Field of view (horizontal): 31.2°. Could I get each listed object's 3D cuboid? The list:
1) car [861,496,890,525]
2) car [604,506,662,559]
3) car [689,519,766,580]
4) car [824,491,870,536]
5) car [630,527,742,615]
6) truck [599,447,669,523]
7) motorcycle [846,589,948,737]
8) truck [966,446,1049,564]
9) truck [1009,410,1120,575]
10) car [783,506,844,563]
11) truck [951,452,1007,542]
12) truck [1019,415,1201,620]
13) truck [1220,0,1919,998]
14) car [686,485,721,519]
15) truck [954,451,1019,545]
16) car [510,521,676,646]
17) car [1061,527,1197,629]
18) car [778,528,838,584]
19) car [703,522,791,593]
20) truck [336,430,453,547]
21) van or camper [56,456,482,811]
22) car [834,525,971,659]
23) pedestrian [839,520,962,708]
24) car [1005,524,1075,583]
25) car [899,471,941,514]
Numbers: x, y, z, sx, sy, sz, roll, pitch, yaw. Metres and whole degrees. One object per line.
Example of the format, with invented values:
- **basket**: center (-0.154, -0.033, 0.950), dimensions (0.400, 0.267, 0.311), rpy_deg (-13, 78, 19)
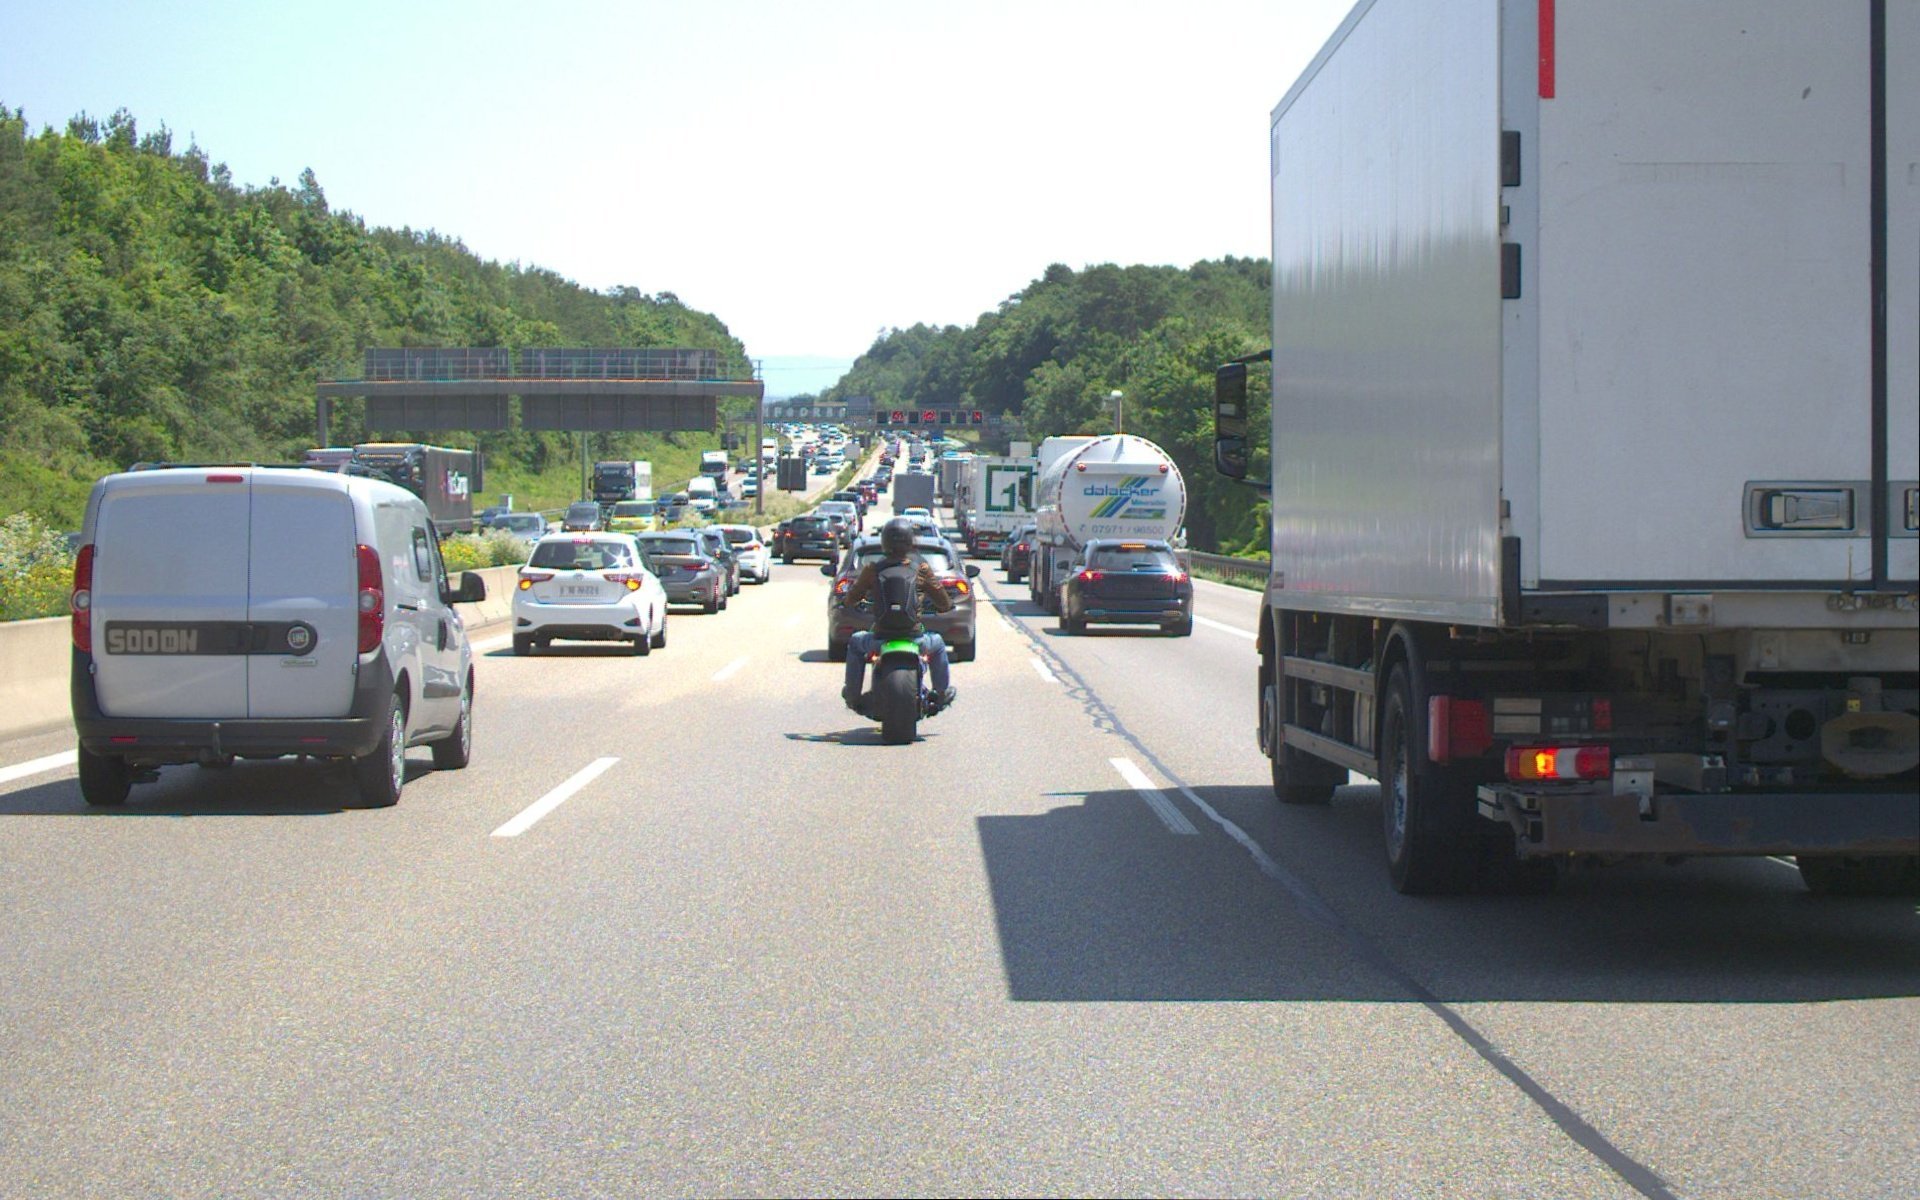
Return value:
- **car**: center (-6.057, -6.412, 245.851), dimensions (1.993, 2.007, 4.000), rpy_deg (1, 1, 0)
- **car**: center (-13.327, -2.742, 140.208), dimensions (1.880, 2.007, 4.468), rpy_deg (-3, 1, 0)
- **car**: center (-5.794, -1.291, 86.079), dimensions (1.699, 1.473, 4.000), rpy_deg (0, 1, -1)
- **car**: center (-5.268, -4.015, 160.510), dimensions (1.929, 2.007, 4.000), rpy_deg (-2, 1, 0)
- **car**: center (-4.823, -0.537, 60.898), dimensions (1.699, 1.473, 4.000), rpy_deg (0, 1, -1)
- **truck**: center (-20.498, -7.233, 216.767), dimensions (3.724, 4.512, 7.327), rpy_deg (-2, 1, -1)
- **motorcycle**: center (-0.454, 0.447, 25.636), dimensions (0.691, 1.012, 2.121), rpy_deg (1, 1, 1)
- **truck**: center (1.865, -3.843, 138.918), dimensions (3.033, 4.526, 9.983), rpy_deg (1, 1, -1)
- **truck**: center (2.287, -2.349, 76.597), dimensions (1.993, 3.510, 4.752), rpy_deg (-2, 1, -3)
- **car**: center (-4.894, -2.214, 115.412), dimensions (1.880, 1.853, 4.000), rpy_deg (1, 1, 0)
- **truck**: center (1.078, -6.110, 204.042), dimensions (3.033, 5.121, 9.983), rpy_deg (1, 1, -1)
- **truck**: center (2.826, -1.552, 67.614), dimensions (2.988, 3.659, 9.288), rpy_deg (-2, 1, -1)
- **truck**: center (3.034, -0.754, 16.294), dimensions (2.688, 3.863, 9.781), rpy_deg (-2, 1, 0)
- **car**: center (-17.971, -6.850, 240.897), dimensions (1.993, 2.369, 7.365), rpy_deg (0, 1, -1)
- **truck**: center (1.308, -5.156, 174.357), dimensions (3.033, 4.526, 9.983), rpy_deg (1, 1, -1)
- **car**: center (-4.552, -0.248, 43.083), dimensions (1.699, 1.473, 4.000), rpy_deg (0, 1, -1)
- **car**: center (2.553, -0.368, 52.714), dimensions (1.828, 1.465, 4.000), rpy_deg (1, 1, -1)
- **car**: center (-5.636, -1.635, 128.045), dimensions (1.993, 2.007, 4.000), rpy_deg (-2, 1, 0)
- **car**: center (-4.574, -0.941, 74.321), dimensions (1.699, 1.473, 4.000), rpy_deg (0, 1, -1)
- **truck**: center (-20.318, -3.963, 123.879), dimensions (2.906, 3.960, 7.769), rpy_deg (-2, 1, -1)
- **van or camper**: center (-3.991, 0.160, 20.496), dimensions (1.796, 1.886, 4.160), rpy_deg (1, 1, -2)
- **car**: center (-0.710, -0.128, 41.802), dimensions (1.532, 1.504, 4.000), rpy_deg (-2, 1, -1)
- **pedestrian**: center (-0.438, 0.094, 25.724), dimensions (0.849, 1.357, 0.961), rpy_deg (-2, 1, 1)
- **car**: center (2.162, -1.291, 94.184), dimensions (1.787, 1.550, 3.804), rpy_deg (0, 1, -1)
- **car**: center (-2.428, -6.534, 208.811), dimensions (2.504, 2.578, 5.017), rpy_deg (0, 1, -1)
